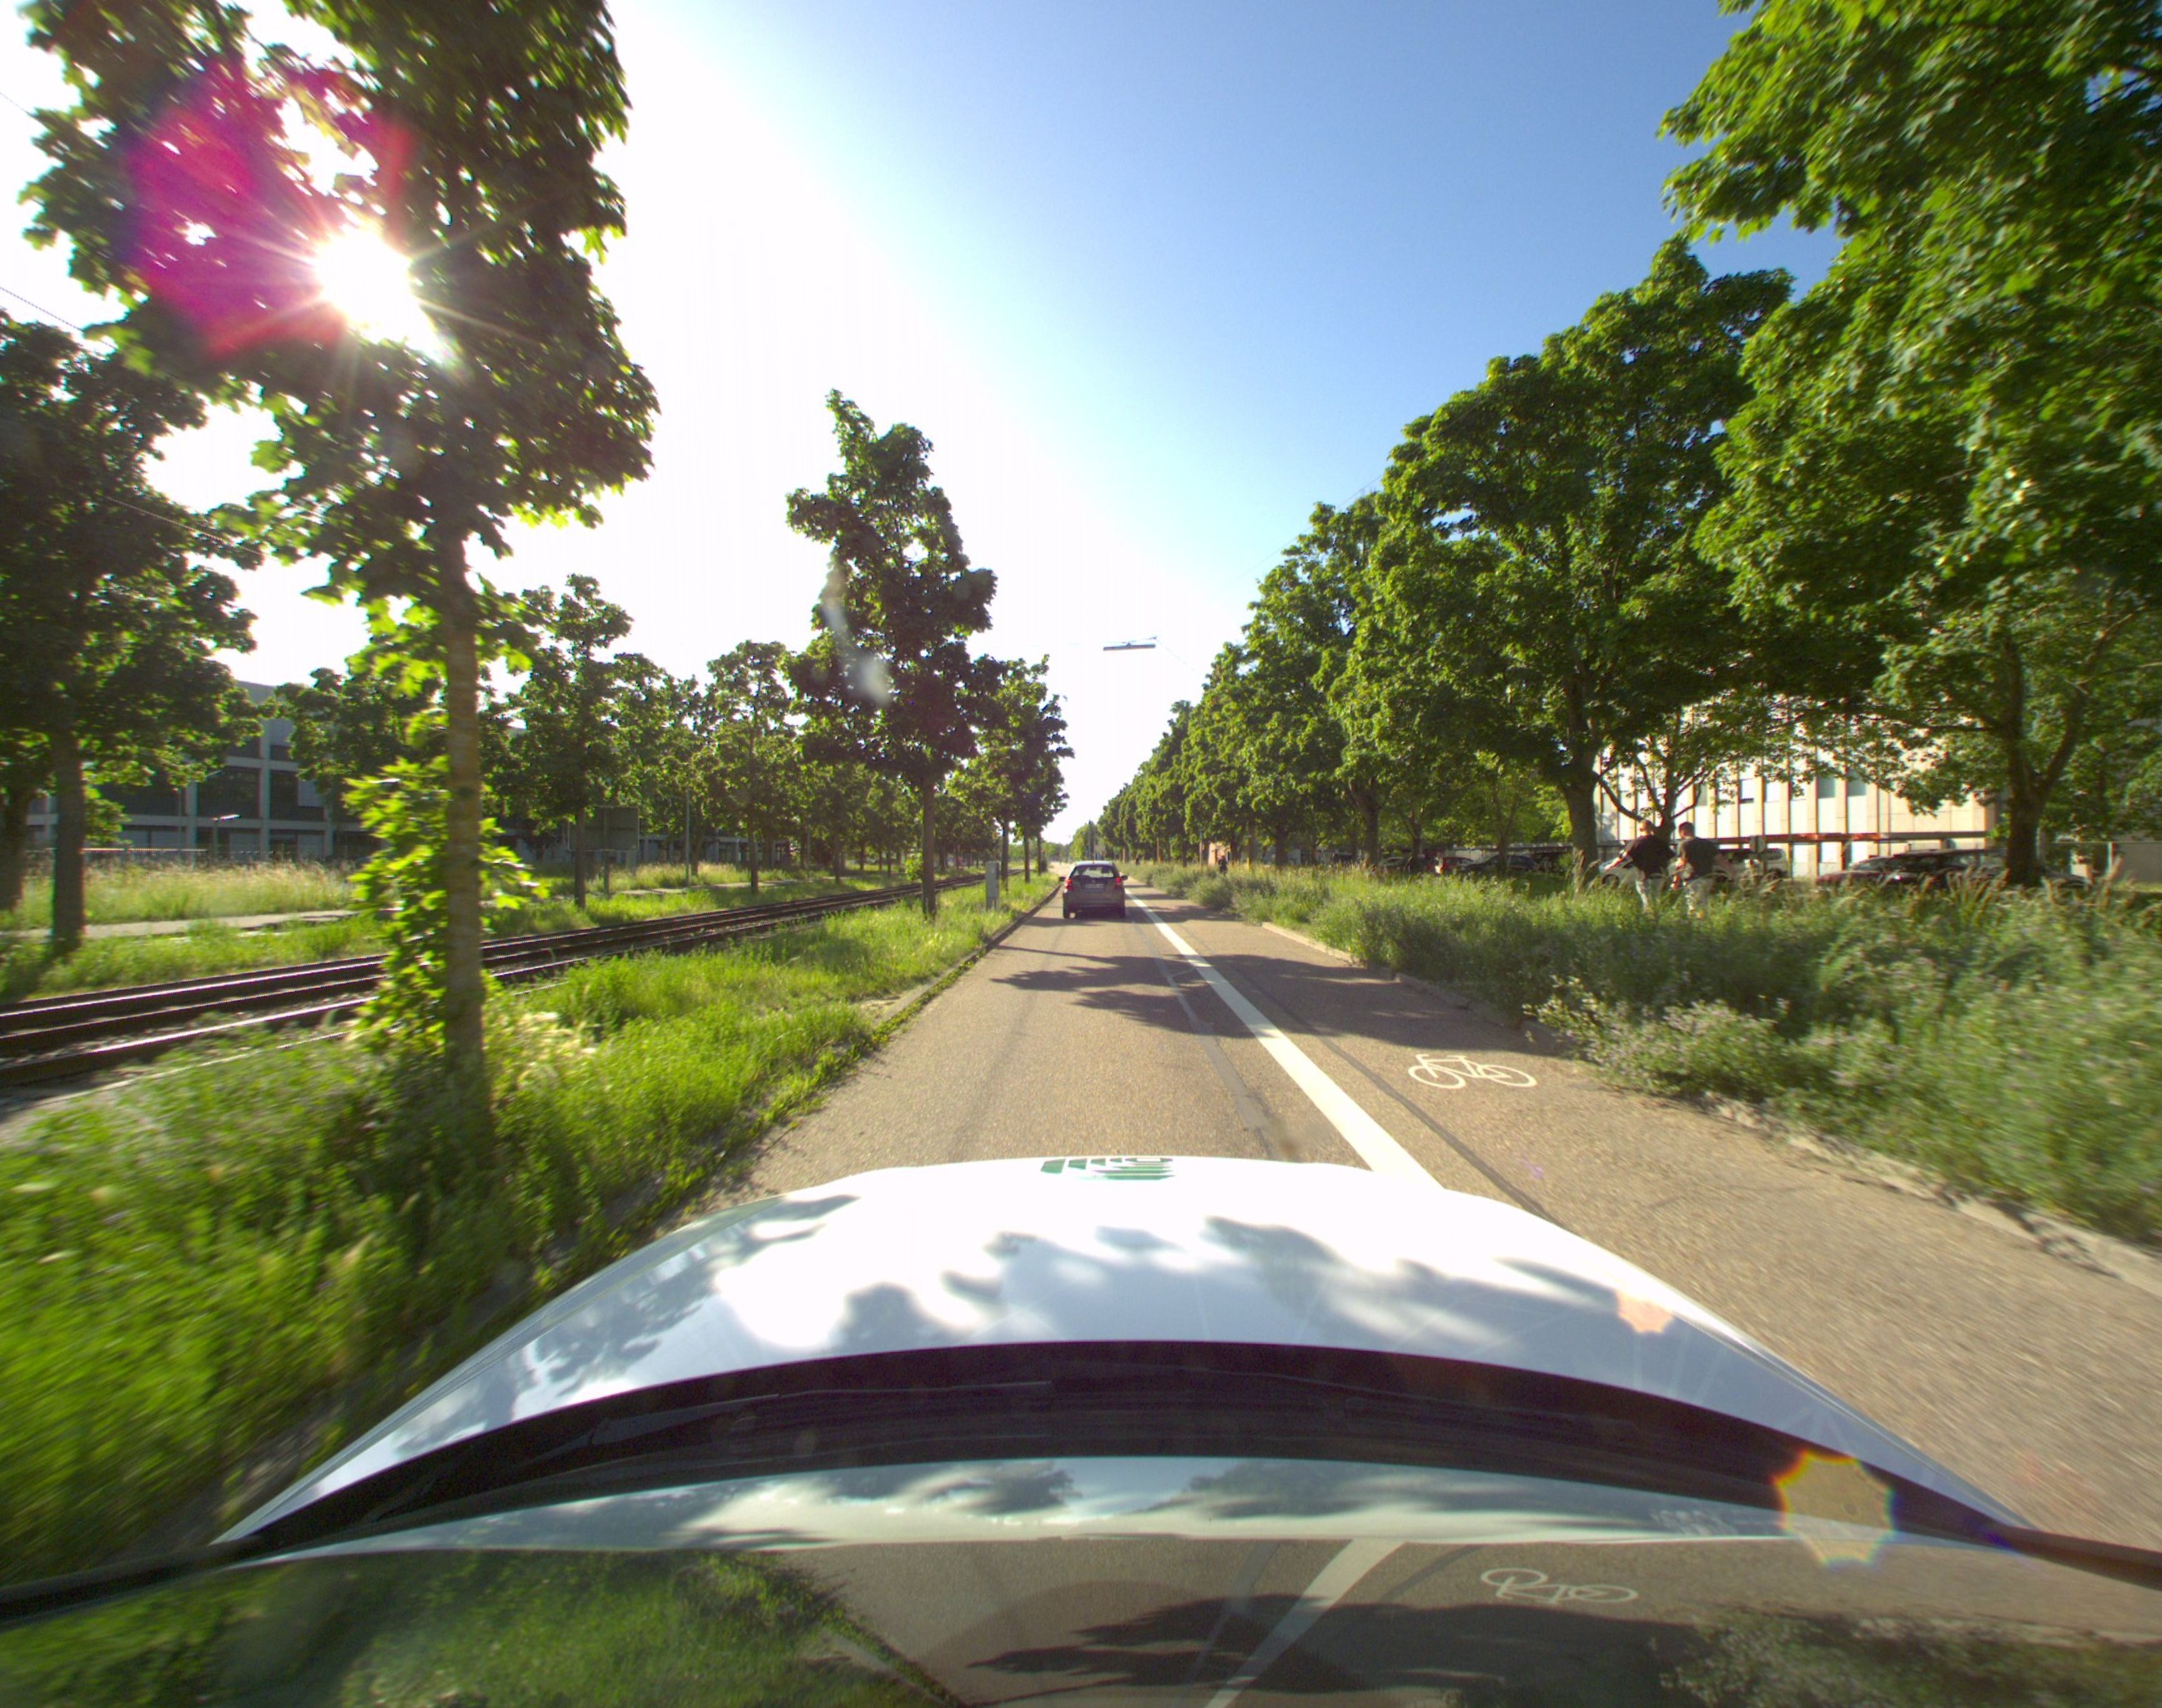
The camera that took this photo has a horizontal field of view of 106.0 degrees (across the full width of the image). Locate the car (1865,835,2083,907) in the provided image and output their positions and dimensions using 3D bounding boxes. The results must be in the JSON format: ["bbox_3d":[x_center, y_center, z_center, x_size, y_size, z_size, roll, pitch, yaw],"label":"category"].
[{"bbox_3d":[23.274,0.416,21.283,4.334,1.700,1.760,-1,0,-10],"label":"car"}]

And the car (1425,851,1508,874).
[{"bbox_3d":[23.912,0.501,50.621,4.272,1.324,1.943,-1,1,4],"label":"car"}]

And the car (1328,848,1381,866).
[{"bbox_3d":[23.792,0.272,70.869,4.016,1.505,1.738,-1,0,0],"label":"car"}]

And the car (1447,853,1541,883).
[{"bbox_3d":[23.068,0.777,45.575,4.382,1.596,1.882,0,0,-3],"label":"car"}]

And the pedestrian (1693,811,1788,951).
[{"bbox_3d":[9.387,0.370,11.619,0.705,1.930,0.817,0,-1,2],"label":"pedestrian"}]

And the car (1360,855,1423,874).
[{"bbox_3d":[23.619,0.819,62.120,4.147,1.432,1.826,0,-1,3],"label":"car"}]

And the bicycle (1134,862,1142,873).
[{"bbox_3d":[6.426,1.495,91.785,0.482,1.204,2.137,0,-2,-7],"label":"bicycle"}]

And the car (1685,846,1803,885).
[{"bbox_3d":[35.185,0.593,43.290,4.734,1.950,1.974,-1,0,-1],"label":"car"}]

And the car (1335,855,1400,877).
[{"bbox_3d":[20.231,0.827,57.612,3.985,1.525,1.704,0,0,-3],"label":"car"}]

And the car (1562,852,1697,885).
[{"bbox_3d":[23.473,0.609,34.955,4.686,1.271,1.806,-1,1,-3],"label":"car"}]

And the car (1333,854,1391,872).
[{"bbox_3d":[23.653,0.772,68.689,4.338,1.459,1.690,-1,0,3],"label":"car"}]

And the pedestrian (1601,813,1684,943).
[{"bbox_3d":[8.570,0.359,12.461,0.705,1.918,0.817,0,-1,2],"label":"pedestrian"}]

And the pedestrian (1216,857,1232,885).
[{"bbox_3d":[8.036,0.944,45.750,0.821,1.569,0.762,0,-1,1],"label":"pedestrian"}]

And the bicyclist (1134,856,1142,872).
[{"bbox_3d":[6.442,1.115,91.626,0.682,1.720,0.900,0,-1,-7],"label":"bicyclist"}]

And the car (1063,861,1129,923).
[{"bbox_3d":[0.357,0.958,22.110,1.619,1.500,3.455,-1,0,-1],"label":"car"}]

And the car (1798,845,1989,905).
[{"bbox_3d":[23.255,0.568,23.367,4.230,1.536,1.760,-1,0,-10],"label":"car"}]
